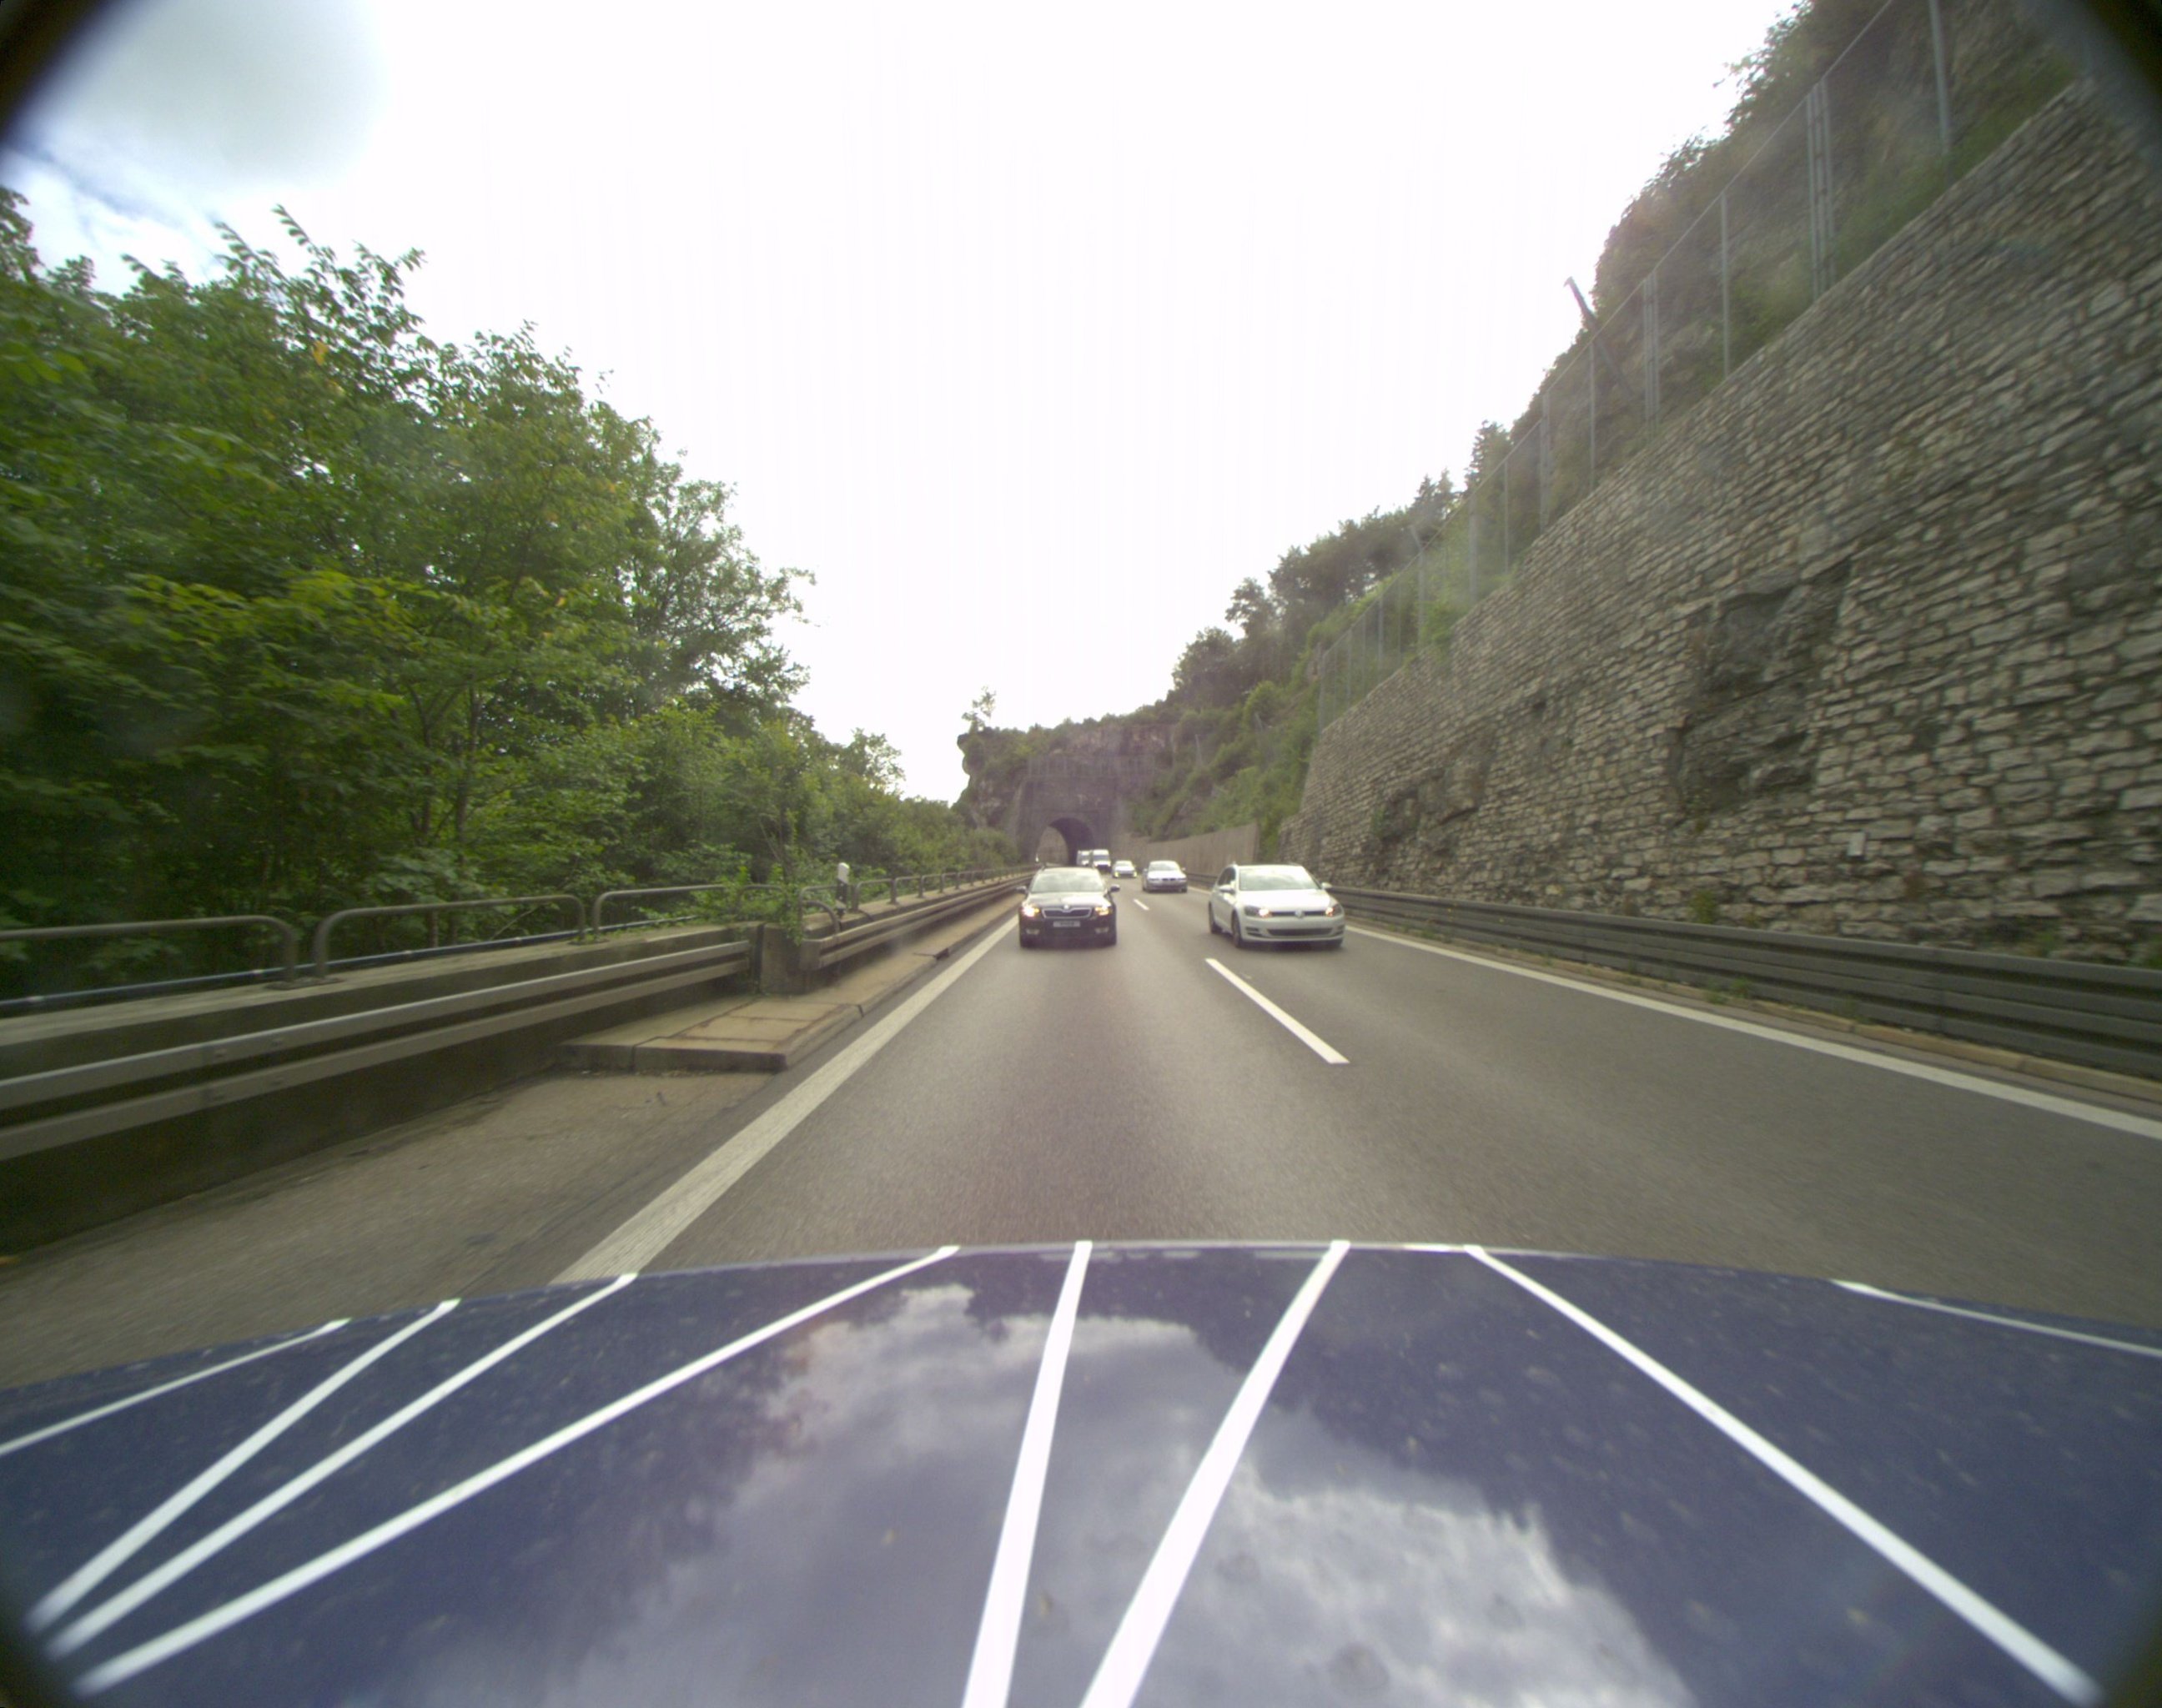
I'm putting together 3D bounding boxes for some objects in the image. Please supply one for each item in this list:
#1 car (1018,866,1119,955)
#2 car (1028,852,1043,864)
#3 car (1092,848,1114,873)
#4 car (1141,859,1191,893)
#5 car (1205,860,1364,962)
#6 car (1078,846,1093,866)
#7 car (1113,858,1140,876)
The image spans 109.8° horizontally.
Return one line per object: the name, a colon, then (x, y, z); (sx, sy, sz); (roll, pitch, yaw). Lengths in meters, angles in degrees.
car: (-0.168, 1.001, 15.222); (1.677, 1.418, 4.473); (-2, 0, 1)
car: (-9.479, 0.799, 157.789); (2.676, 2.408, 6.117); (-2, 0, -7)
car: (2.377, 0.692, 82.741); (1.869, 2.444, 4.980); (-2, 2, -4)
car: (4.001, 1.001, 36.469); (1.832, 1.448, 5.135); (-2, 0, 0)
car: (3.501, 0.896, 13.993); (1.849, 1.473, 4.628); (-1, 1, 2)
car: (0.593, 0.254, 100.425); (1.868, 2.444, 4.982); (-2, 2, 1)
car: (3.855, 1.081, 64.725); (1.923, 1.452, 4.230); (-2, 0, -2)
